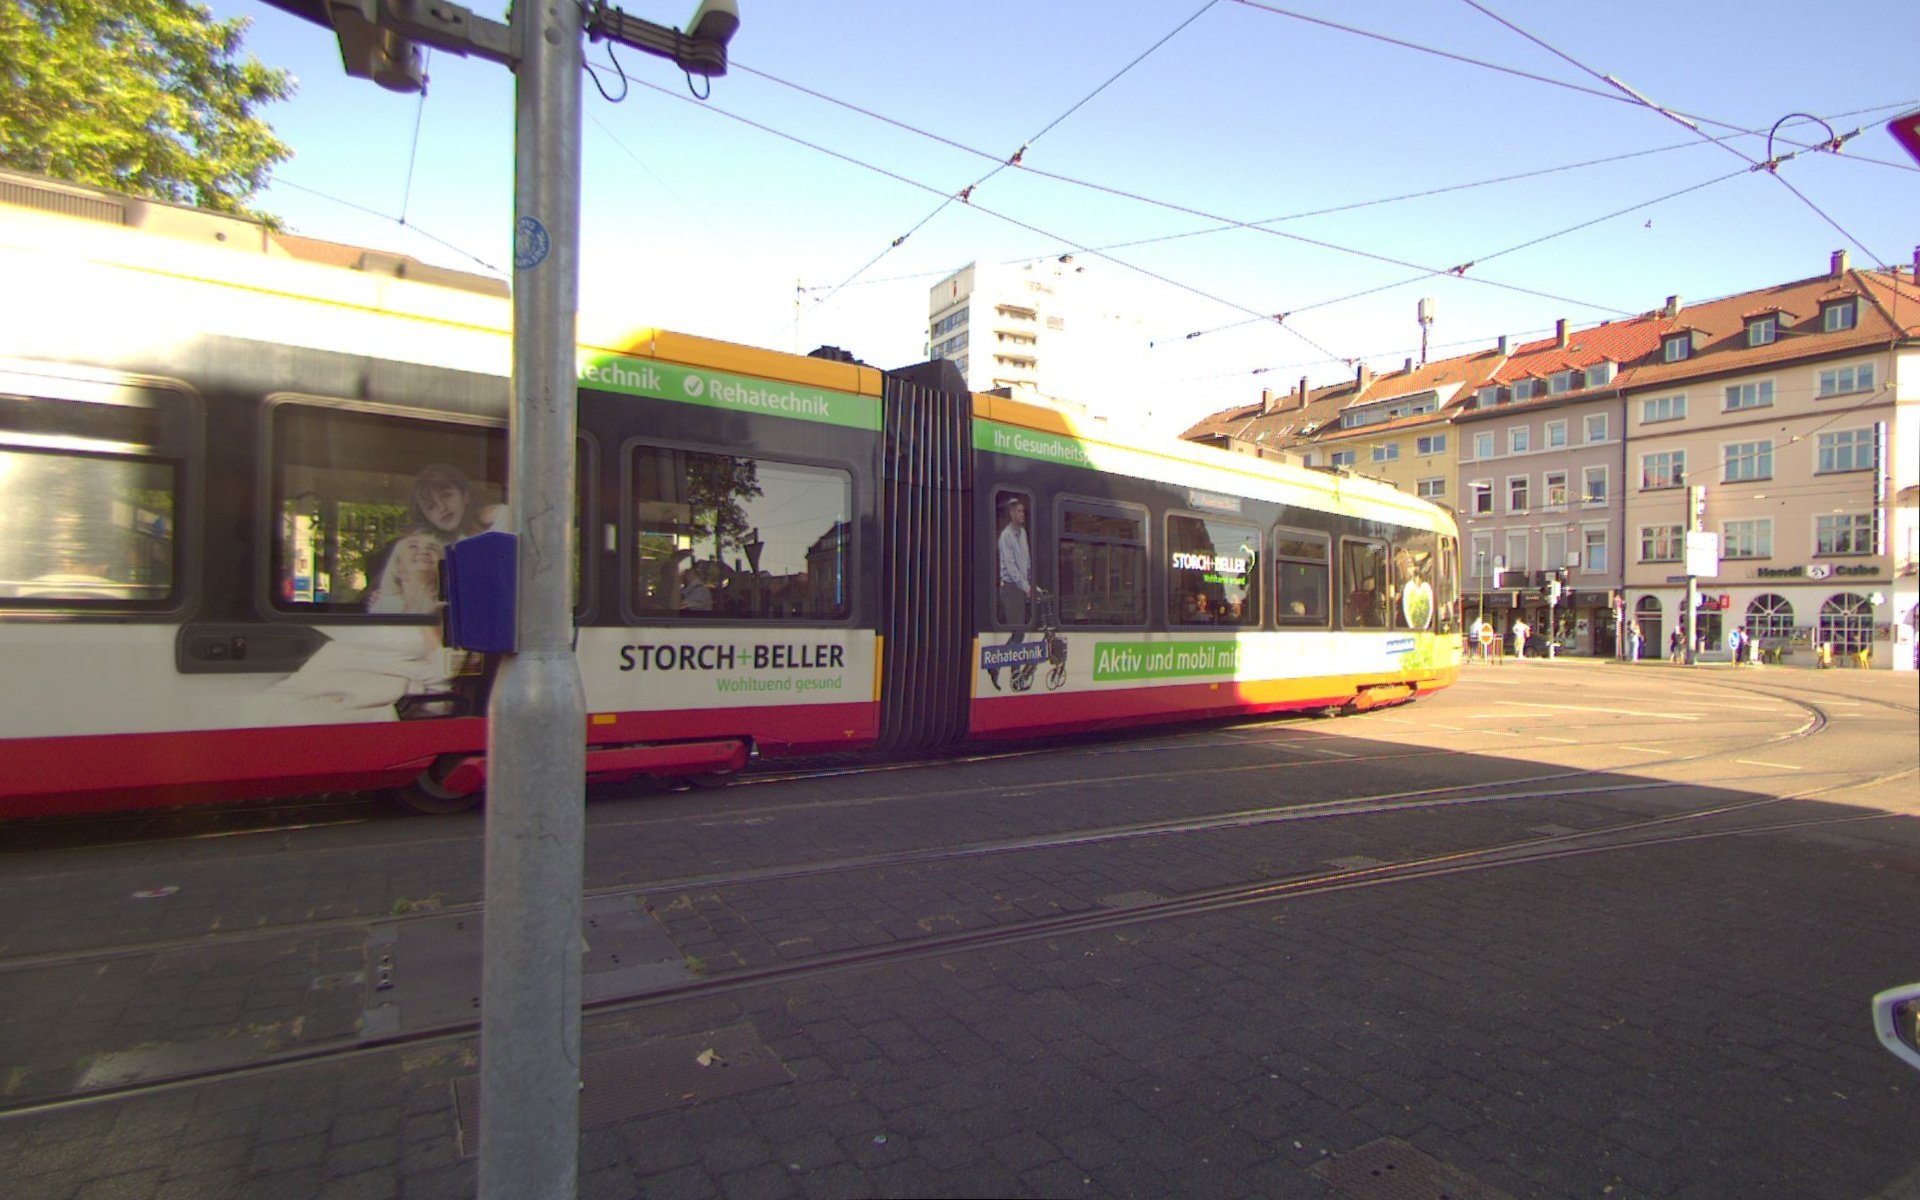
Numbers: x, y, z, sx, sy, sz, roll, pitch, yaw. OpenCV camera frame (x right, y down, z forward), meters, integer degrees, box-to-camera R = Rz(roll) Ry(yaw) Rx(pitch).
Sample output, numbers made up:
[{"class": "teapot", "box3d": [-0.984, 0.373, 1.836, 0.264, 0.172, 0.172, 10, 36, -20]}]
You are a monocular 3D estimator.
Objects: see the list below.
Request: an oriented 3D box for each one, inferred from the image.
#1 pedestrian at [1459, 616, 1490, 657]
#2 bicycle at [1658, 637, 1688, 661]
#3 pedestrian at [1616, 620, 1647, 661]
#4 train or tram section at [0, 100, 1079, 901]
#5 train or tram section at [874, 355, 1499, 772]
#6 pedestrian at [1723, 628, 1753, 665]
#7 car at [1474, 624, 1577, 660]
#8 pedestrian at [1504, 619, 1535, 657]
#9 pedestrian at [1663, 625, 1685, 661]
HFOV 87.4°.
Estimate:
[{"class": "pedestrian", "box3d": [20.741, 1.477, 40.520, 0.867, 1.598, 0.665, 2, 0, -2]}, {"class": "bicycle", "box3d": [34.002, 2.336, 47.897, 1.479, 1.091, 0.570, 2, 0, -30]}, {"class": "pedestrian", "box3d": [26.609, 1.601, 39.803, 0.817, 1.598, 0.552, 2, 0, -2]}, {"class": "train or tram section", "box3d": [-4.866, -0.456, 6.497, 12.701, 3.864, 2.911, 2, -1, -37]}, {"class": "train or tram section", "box3d": [4.301, -0.205, 14.611, 2.902, 3.864, 12.044, 0, -1, 45]}, {"class": "pedestrian", "box3d": [34.837, 2.057, 44.988, 0.816, 1.598, 0.728, 2, 0, 14]}, {"class": "car", "box3d": [30.817, 2.287, 54.844, 2.277, 1.734, 4.350, 2, 0, -27]}, {"class": "pedestrian", "box3d": [24.496, 1.667, 43.971, 0.821, 1.598, 0.847, 2, 0, -20]}, {"class": "pedestrian", "box3d": [34.082, 2.038, 47.936, 0.743, 1.692, 0.579, 2, 0, -30]}]
